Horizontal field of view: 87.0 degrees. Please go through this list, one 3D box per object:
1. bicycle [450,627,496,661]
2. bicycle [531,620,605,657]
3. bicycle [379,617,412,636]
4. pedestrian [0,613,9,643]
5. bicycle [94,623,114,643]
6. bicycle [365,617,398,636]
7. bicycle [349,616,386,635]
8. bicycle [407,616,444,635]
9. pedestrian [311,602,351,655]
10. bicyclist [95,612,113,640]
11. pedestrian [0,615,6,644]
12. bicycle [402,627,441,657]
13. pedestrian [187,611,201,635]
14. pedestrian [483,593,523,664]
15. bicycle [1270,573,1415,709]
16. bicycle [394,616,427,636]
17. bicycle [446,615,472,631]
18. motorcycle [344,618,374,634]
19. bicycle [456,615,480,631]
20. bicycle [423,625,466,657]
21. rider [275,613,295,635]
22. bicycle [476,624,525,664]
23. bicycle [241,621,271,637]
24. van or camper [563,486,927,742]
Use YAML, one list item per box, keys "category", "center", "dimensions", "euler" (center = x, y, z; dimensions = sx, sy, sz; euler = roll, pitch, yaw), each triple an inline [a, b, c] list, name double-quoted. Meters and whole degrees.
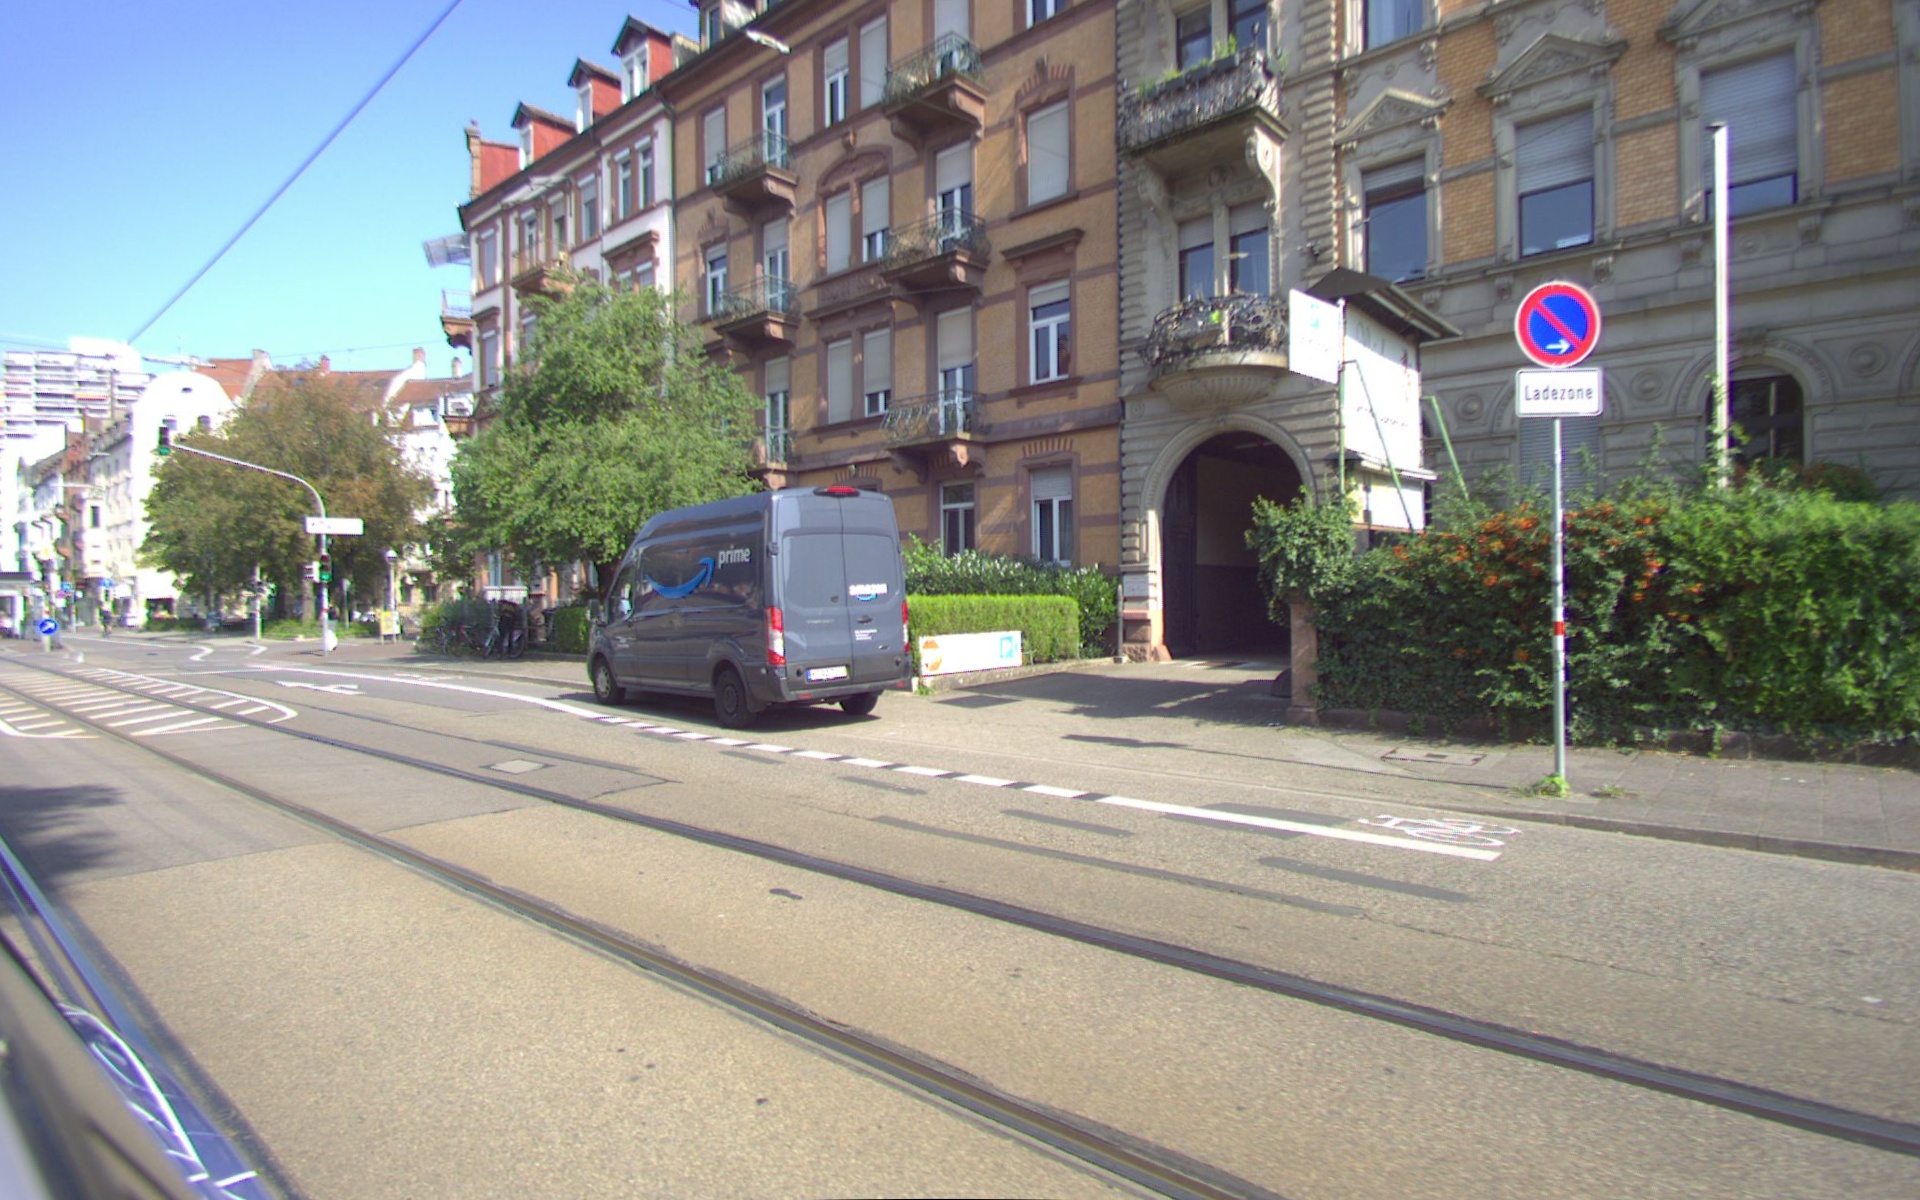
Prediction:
- category: "bicycle"
  center: [-12.746, 1.139, 26.459]
  dimensions: [1.703, 0.866, 0.520]
  euler: [-2, 0, 45]
- category: "bicycle"
  center: [-9.900, 0.955, 25.621]
  dimensions: [0.528, 0.866, 1.679]
  euler: [-2, 0, 42]
- category: "bicycle"
  center: [-42.534, 1.997, 76.328]
  dimensions: [0.859, 1.381, 2.294]
  euler: [-1, 0, 12]
- category: "pedestrian"
  center: [-48.675, 1.418, 51.201]
  dimensions: [0.718, 1.467, 0.784]
  euler: [-2, -1, 42]
- category: "bicycle"
  center: [-50.257, 1.941, 59.404]
  dimensions: [2.069, 1.112, 0.676]
  euler: [-1, 0, 44]
- category: "bicycle"
  center: [-44.001, 1.997, 76.980]
  dimensions: [0.859, 1.381, 2.294]
  euler: [-1, 0, 12]
- category: "bicycle"
  center: [-45.288, 1.941, 77.350]
  dimensions: [0.864, 1.381, 2.279]
  euler: [-1, 0, 30]
- category: "bicycle"
  center: [-39.823, 1.883, 75.413]
  dimensions: [0.864, 1.381, 2.280]
  euler: [-1, 0, 29]
- category: "pedestrian"
  center: [-21.642, 0.982, 34.826]
  dimensions: [1.186, 1.779, 0.894]
  euler: [-1, 0, 45]
- category: "bicyclist"
  center: [-50.221, 1.525, 59.370]
  dimensions: [1.044, 1.626, 0.665]
  euler: [-1, 0, 44]
- category: "pedestrian"
  center: [-49.454, 1.519, 51.947]
  dimensions: [0.718, 1.467, 0.669]
  euler: [-2, -1, 42]
- category: "bicycle"
  center: [-16.891, 1.304, 31.768]
  dimensions: [0.519, 0.866, 1.832]
  euler: [-1, 0, -10]
- category: "pedestrian"
  center: [-60.154, 1.798, 79.486]
  dimensions: [0.672, 1.882, 0.726]
  euler: [-1, -1, 38]
- category: "pedestrian"
  center: [-11.211, 0.690, 24.819]
  dimensions: [0.631, 1.691, 0.632]
  euler: [-1, -1, 30]
- category: "bicycle"
  center: [4.785, 0.426, 12.489]
  dimensions: [0.995, 1.466, 2.850]
  euler: [-1, 1, 35]
- category: "bicycle"
  center: [-41.256, 1.939, 76.019]
  dimensions: [0.859, 1.381, 2.294]
  euler: [-1, 0, 12]
- category: "bicycle"
  center: [-35.893, 1.656, 72.497]
  dimensions: [2.331, 1.112, 0.764]
  euler: [-1, 0, 39]
- category: "motorcycle"
  center: [-46.146, 2.002, 77.698]
  dimensions: [0.674, 1.186, 1.867]
  euler: [-1, 1, 26]
- category: "bicycle"
  center: [-35.497, 1.641, 73.009]
  dimensions: [2.331, 1.112, 0.648]
  euler: [-1, 0, 39]
- category: "bicycle"
  center: [-14.641, 1.158, 28.711]
  dimensions: [1.829, 0.866, 0.520]
  euler: [-2, 0, 45]
- category: "rider"
  center: [-48.124, 1.714, 72.147]
  dimensions: [0.983, 1.523, 1.115]
  euler: [-2, 1, -45]
- category: "bicycle"
  center: [-11.504, 1.087, 25.308]
  dimensions: [1.703, 0.934, 0.520]
  euler: [-2, 0, 45]
- category: "bicycle"
  center: [-54.116, 2.213, 77.856]
  dimensions: [0.687, 1.087, 2.342]
  euler: [-1, 1, -1]
- category: "van or camper"
  center: [-3.165, 0.157, 13.514]
  dimensions: [2.025, 2.664, 6.098]
  euler: [0, 0, -41]
